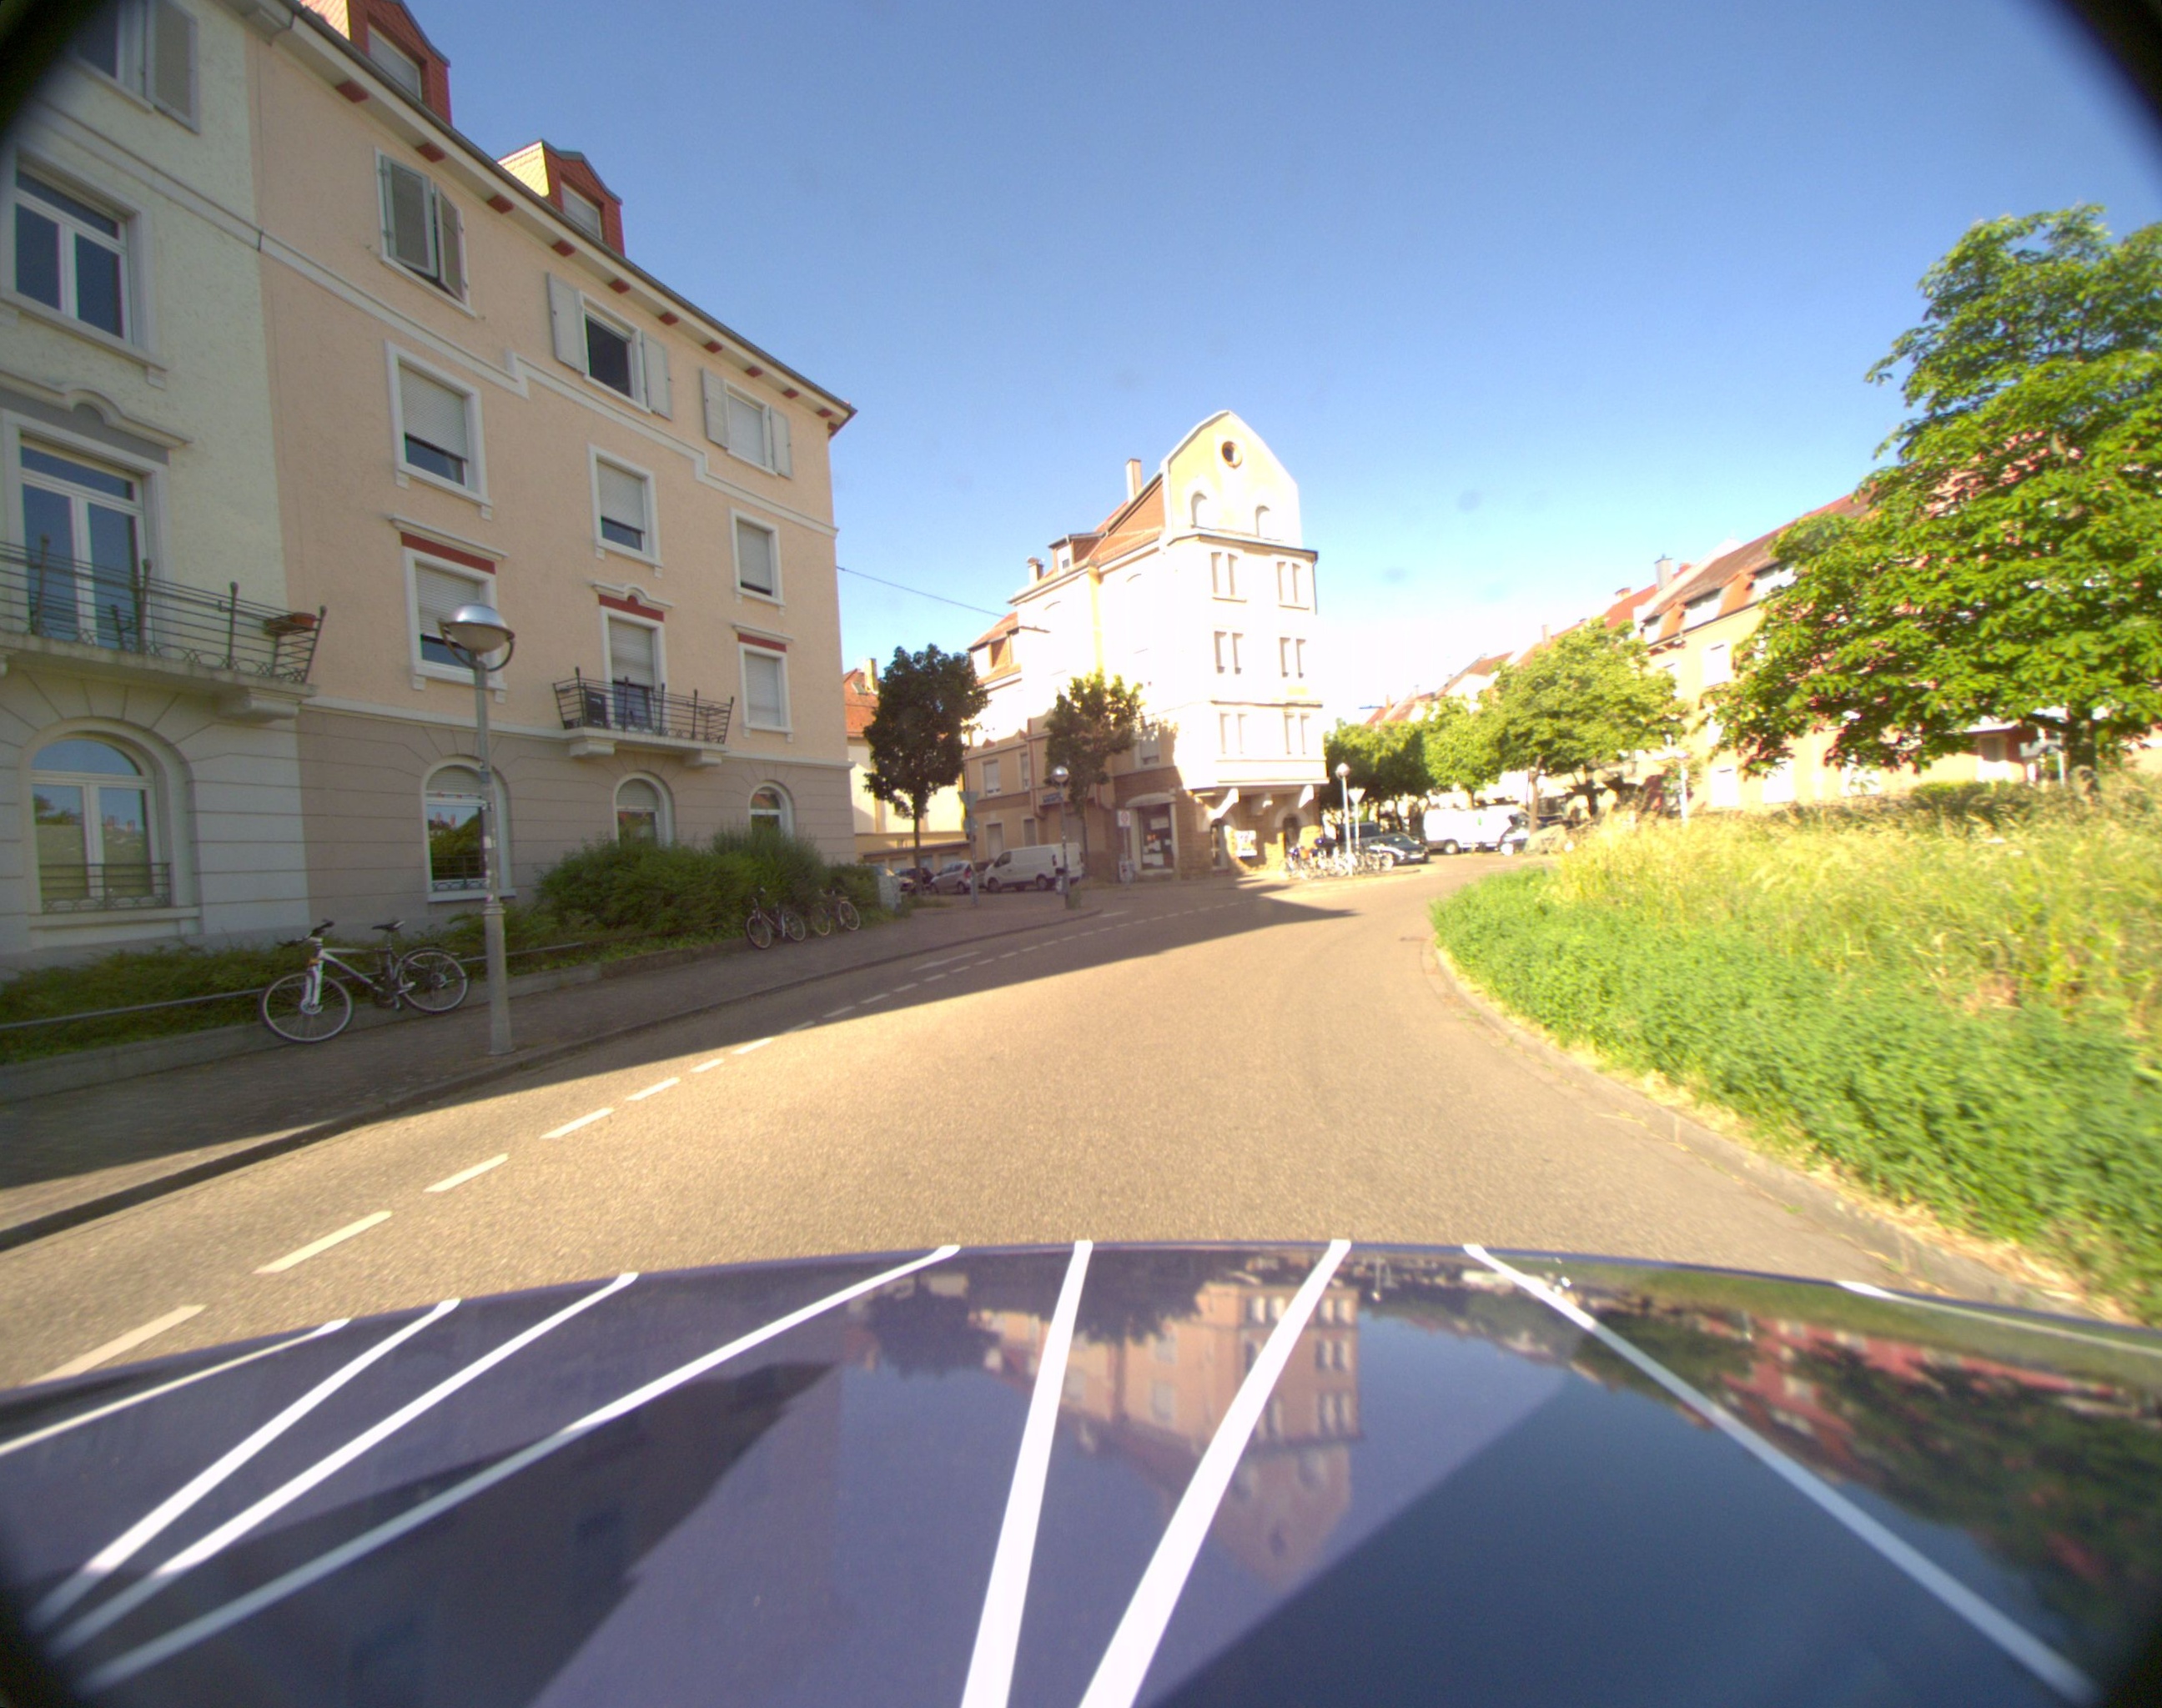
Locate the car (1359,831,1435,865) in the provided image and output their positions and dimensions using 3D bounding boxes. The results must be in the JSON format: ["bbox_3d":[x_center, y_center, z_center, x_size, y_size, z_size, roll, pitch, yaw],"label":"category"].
[{"bbox_3d":[14.536,-0.266,35.198,1.687,1.382,3.921,-5,0,-2],"label":"car"}]

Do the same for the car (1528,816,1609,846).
[{"bbox_3d":[26.970,-1.248,42.144,3.377,1.438,1.690,-3,0,16],"label":"car"}]

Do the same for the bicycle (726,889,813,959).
[{"bbox_3d":[-5.590,1.230,13.743,0.502,1.082,1.688,-2,1,14],"label":"bicycle"}]

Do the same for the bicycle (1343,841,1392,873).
[{"bbox_3d":[10.443,0.120,27.756,0.484,1.117,1.693,-5,1,-28],"label":"bicycle"}]

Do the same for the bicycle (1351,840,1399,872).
[{"bbox_3d":[10.843,0.089,28.048,0.484,1.117,1.715,-5,1,-26],"label":"bicycle"}]

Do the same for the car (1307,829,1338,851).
[{"bbox_3d":[33.116,-1.903,104.272,2.429,2.829,4.864,-3,0,-2],"label":"car"}]

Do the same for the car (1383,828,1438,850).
[{"bbox_3d":[24.600,-1.090,56.802,3.375,1.461,1.691,-2,0,40],"label":"car"}]

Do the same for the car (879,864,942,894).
[{"bbox_3d":[-9.084,1.343,40.344,3.325,1.419,1.641,-4,0,44],"label":"car"}]

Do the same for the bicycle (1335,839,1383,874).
[{"bbox_3d":[10.065,0.118,27.550,0.452,1.184,1.693,-5,1,-28],"label":"bicycle"}]

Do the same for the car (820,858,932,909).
[{"bbox_3d":[-7.610,1.114,27.953,4.336,1.632,1.912,-4,0,44],"label":"car"}]

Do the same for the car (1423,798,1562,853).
[{"bbox_3d":[22.544,-1.485,41.844,6.359,2.585,2.107,-2,0,42],"label":"car"}]

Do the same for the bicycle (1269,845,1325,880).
[{"bbox_3d":[7.482,0.317,26.368,0.700,1.123,1.864,-6,1,-26],"label":"bicycle"}]

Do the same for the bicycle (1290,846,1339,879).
[{"bbox_3d":[8.185,0.303,26.712,0.536,1.084,1.876,-5,1,-20],"label":"bicycle"}]

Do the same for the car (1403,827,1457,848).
[{"bbox_3d":[26.957,-1.248,58.682,3.375,1.461,1.691,-2,0,40],"label":"car"}]

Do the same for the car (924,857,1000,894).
[{"bbox_3d":[-5.881,1.087,37.370,3.729,1.563,1.641,-4,0,44],"label":"car"}]

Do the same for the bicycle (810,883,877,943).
[{"bbox_3d":[-4.914,1.199,15.828,0.502,1.082,1.688,-2,1,14],"label":"bicycle"}]

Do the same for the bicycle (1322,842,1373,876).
[{"bbox_3d":[9.547,0.180,27.279,0.617,1.139,1.693,-5,1,-28],"label":"bicycle"}]

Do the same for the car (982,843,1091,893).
[{"bbox_3d":[-2.021,0.637,33.881,4.549,1.898,2.145,-4,0,41],"label":"car"}]

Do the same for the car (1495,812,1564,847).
[{"bbox_3d":[26.514,-1.442,44.945,3.375,1.854,1.691,-3,0,31],"label":"car"}]

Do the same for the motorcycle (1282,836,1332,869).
[{"bbox_3d":[9.991,-0.075,33.529,2.254,1.403,0.699,-2,1,-29],"label":"motorcycle"}]

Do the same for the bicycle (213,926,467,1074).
[{"bbox_3d":[-7.049,1.328,7.356,0.501,1.082,1.688,-2,1,16],"label":"bicycle"}]

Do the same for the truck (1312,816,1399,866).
[{"bbox_3d":[14.565,-0.668,40.858,2.138,2.278,6.620,-5,0,0],"label":"truck"}]

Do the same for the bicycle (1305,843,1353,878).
[{"bbox_3d":[8.765,0.241,26.954,0.638,1.139,1.694,-5,1,-20],"label":"bicycle"}]
